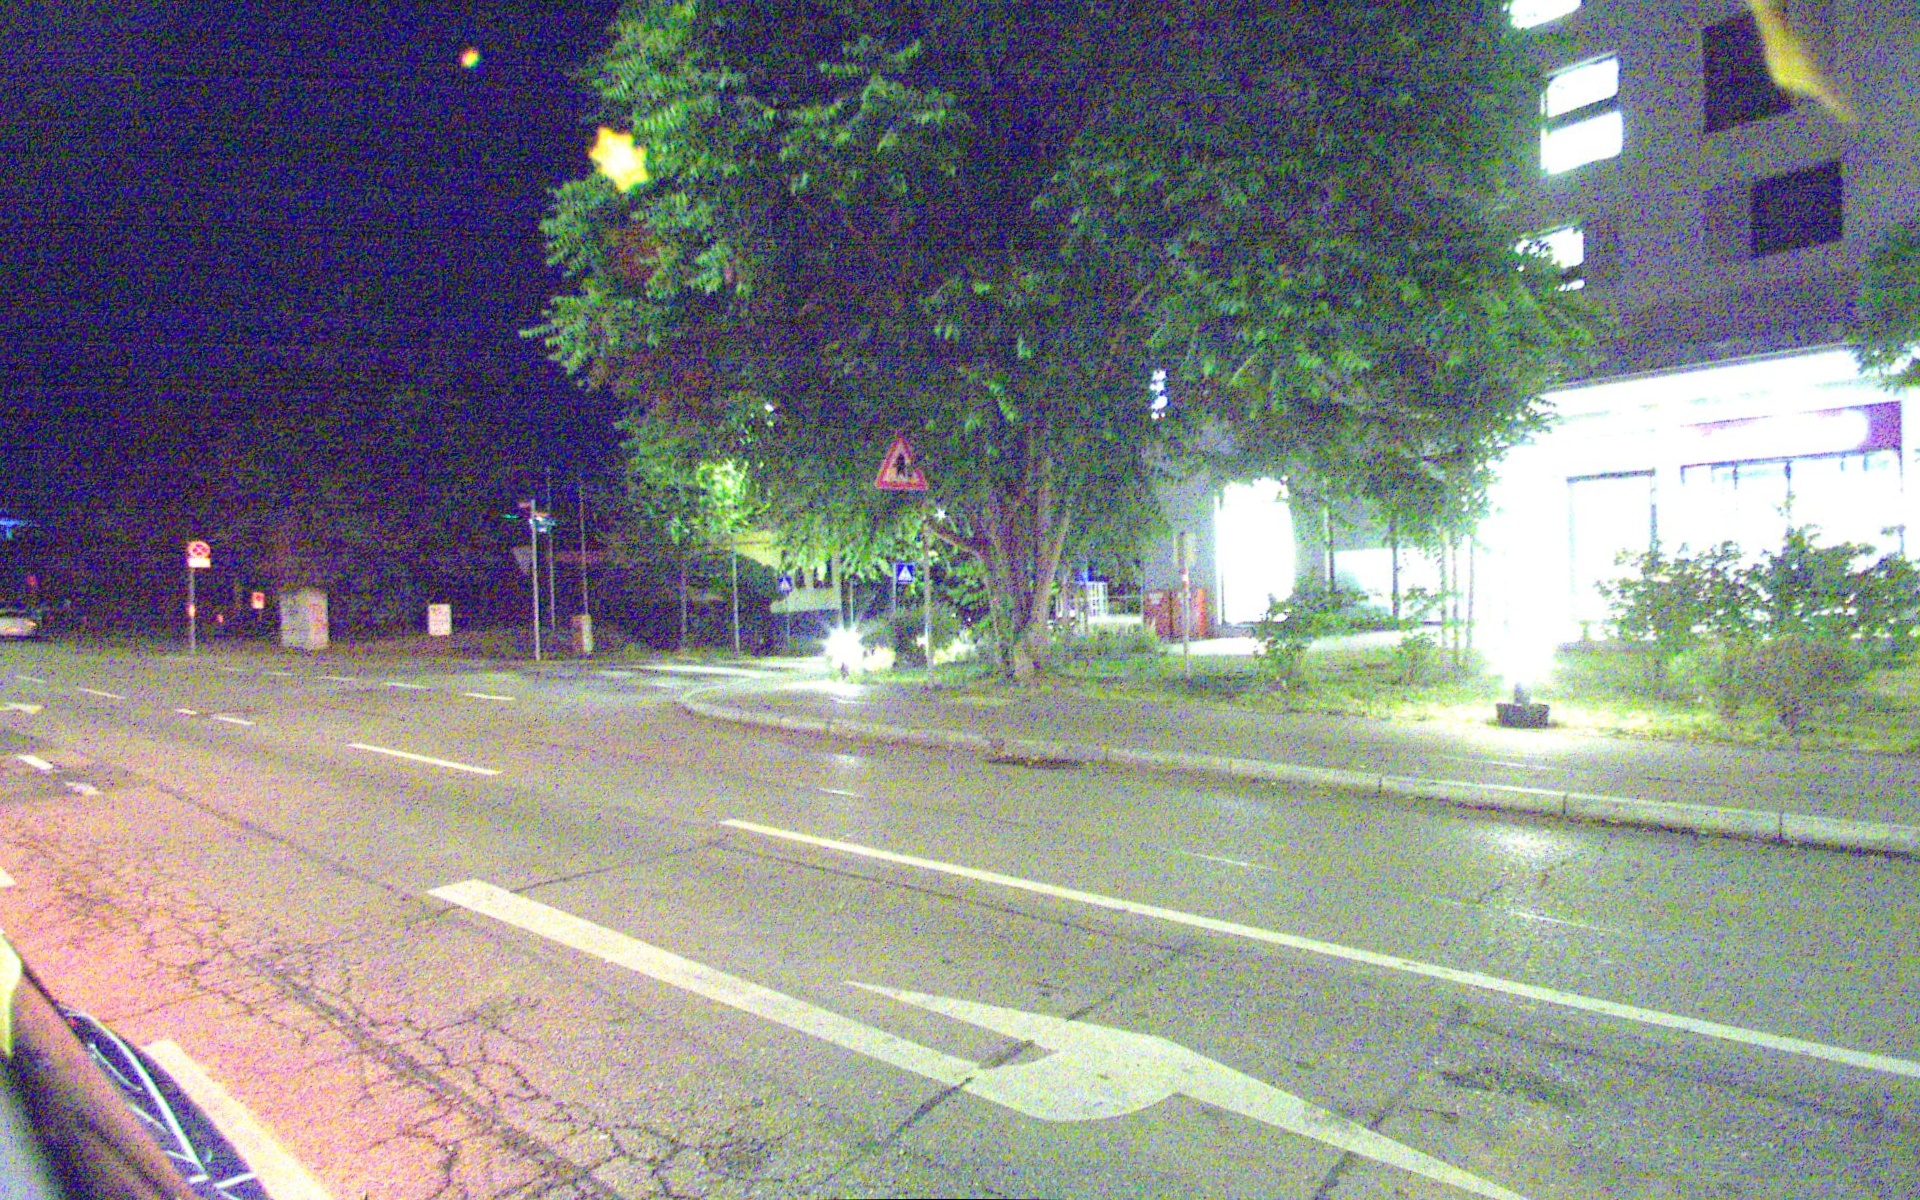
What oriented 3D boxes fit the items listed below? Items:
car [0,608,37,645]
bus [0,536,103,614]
[{"bbox_3d":[-43.173,1.193,45.600,3.996,1.604,1.784,-1,0,39],"label":"car"},{"bbox_3d":[-88.429,-2.169,98.056,14.776,6.990,6.056,-1,0,41],"label":"bus"}]
